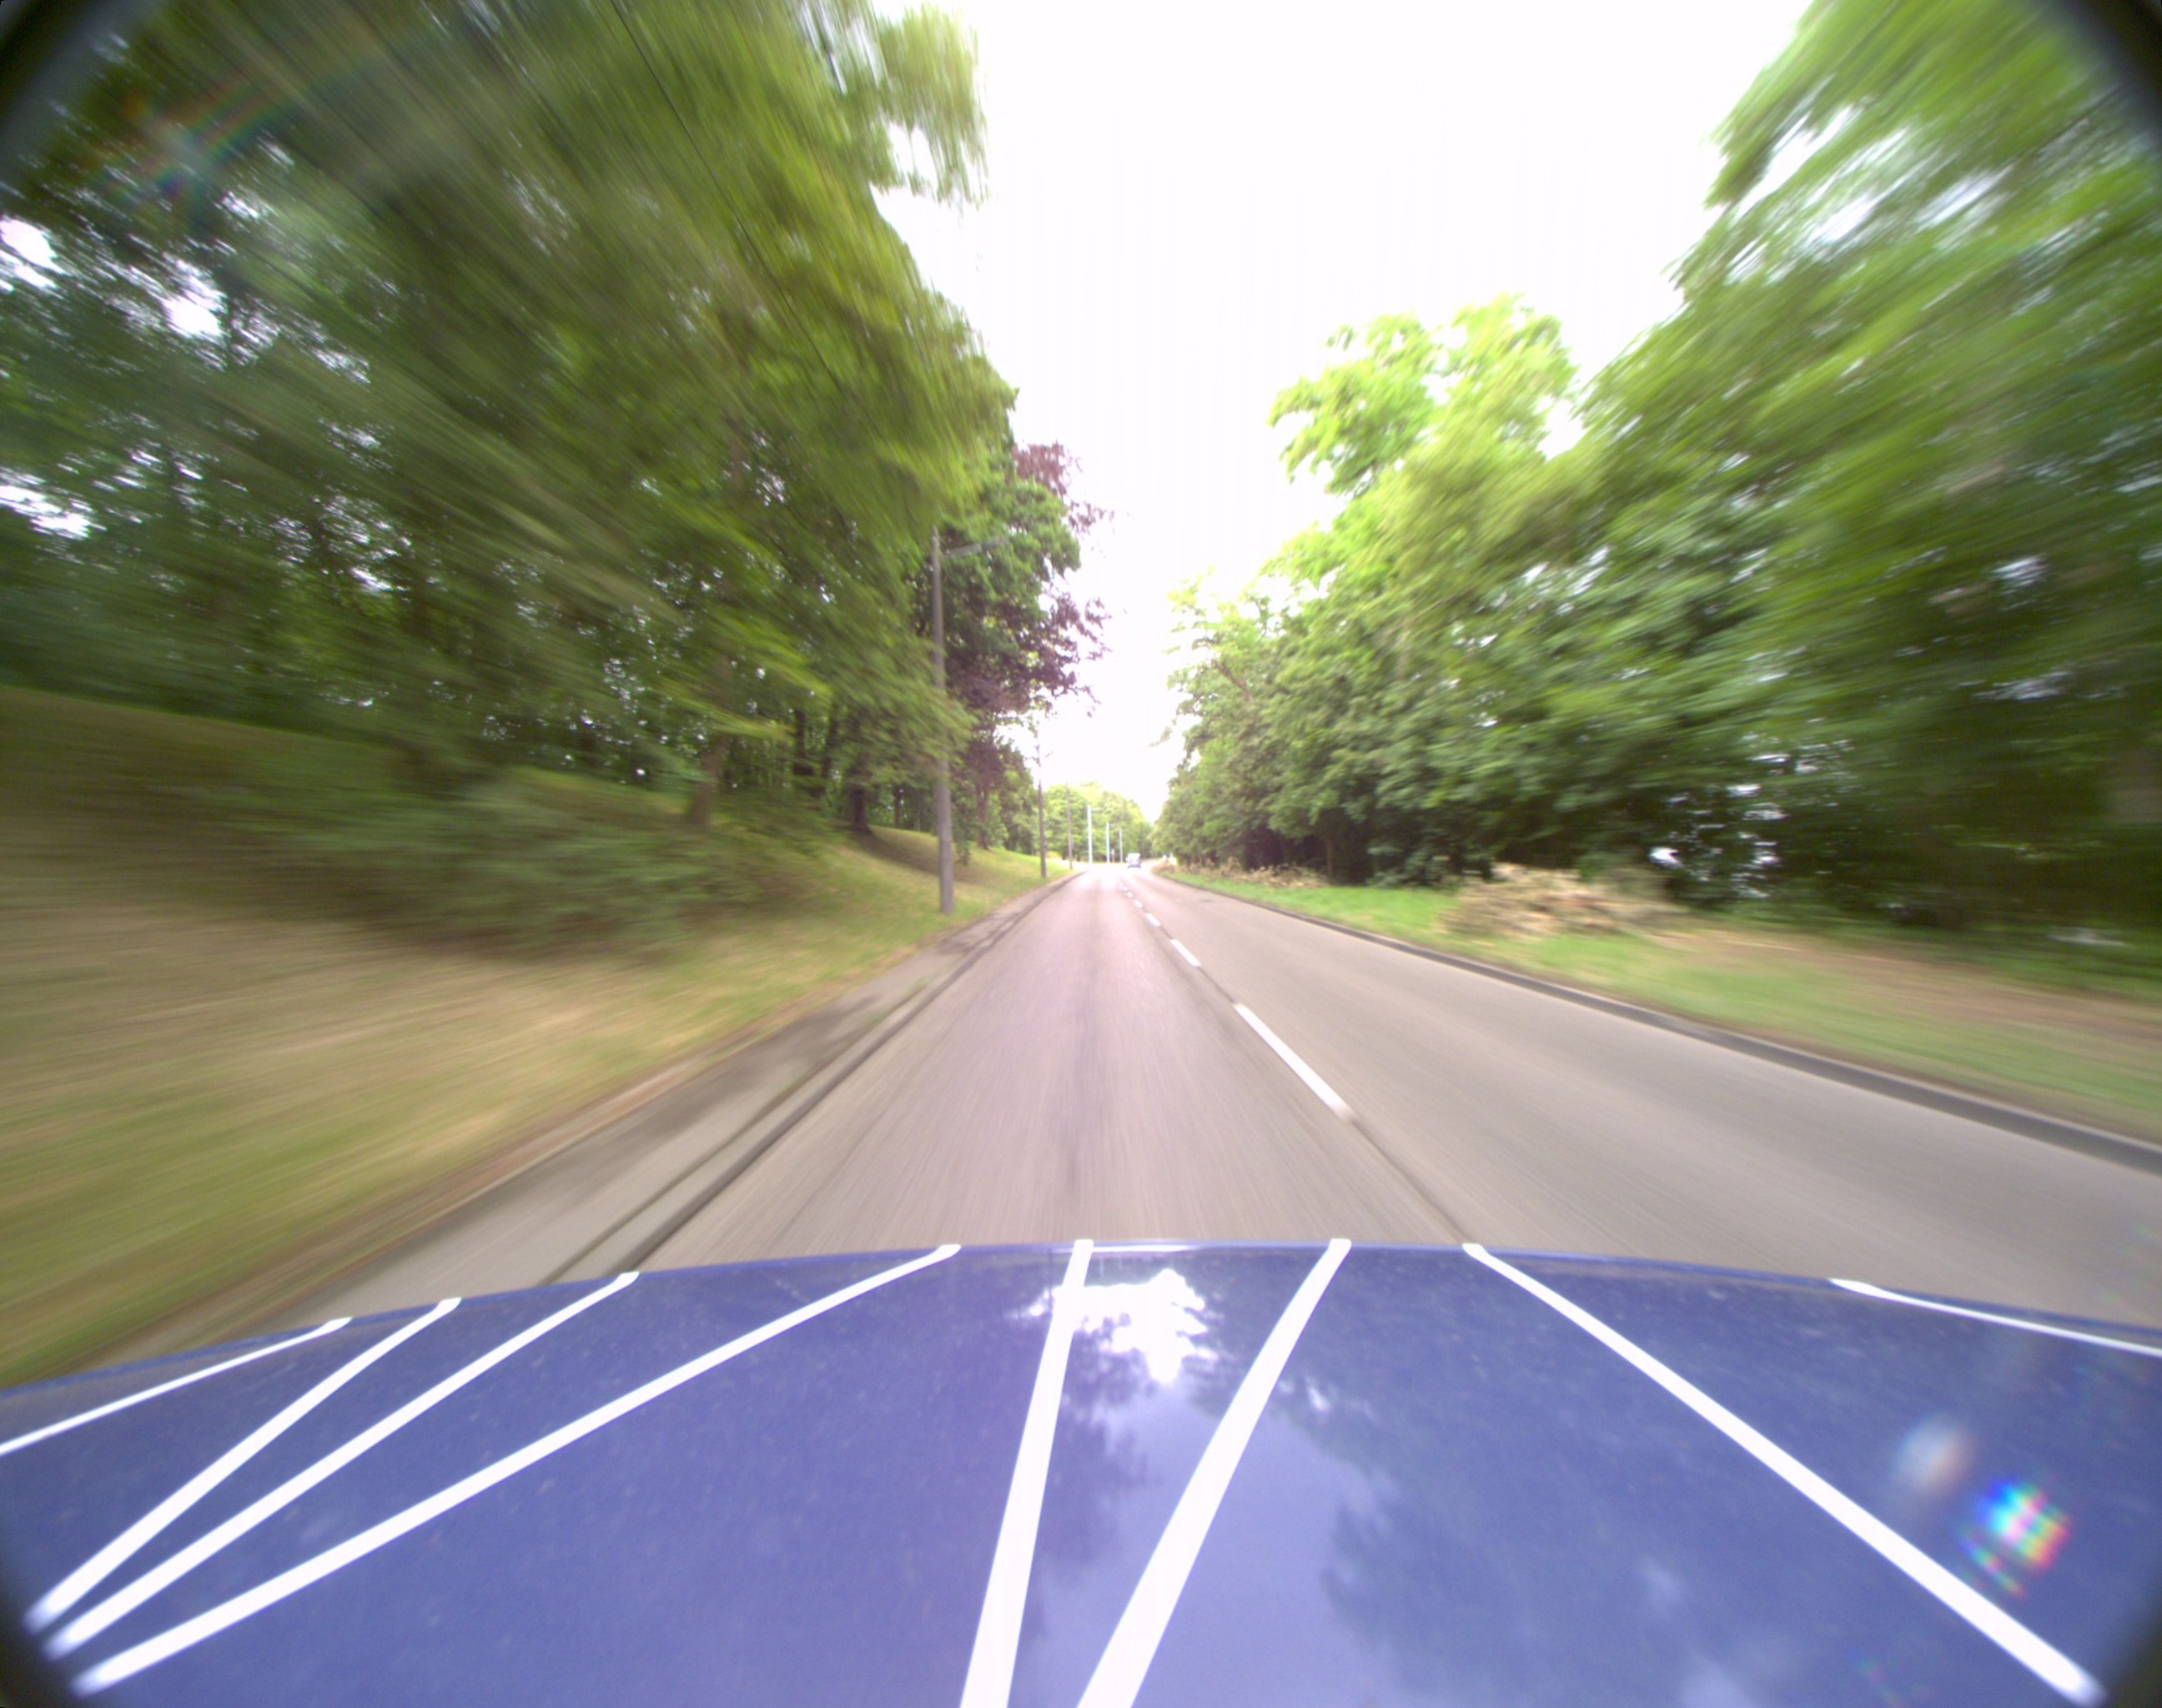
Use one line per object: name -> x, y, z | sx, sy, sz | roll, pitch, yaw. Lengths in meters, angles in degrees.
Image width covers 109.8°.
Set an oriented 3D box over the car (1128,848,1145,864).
car -> 7.377, 0.224, 101.173 | 1.998, 1.936, 4.946 | -2, 0, 3
